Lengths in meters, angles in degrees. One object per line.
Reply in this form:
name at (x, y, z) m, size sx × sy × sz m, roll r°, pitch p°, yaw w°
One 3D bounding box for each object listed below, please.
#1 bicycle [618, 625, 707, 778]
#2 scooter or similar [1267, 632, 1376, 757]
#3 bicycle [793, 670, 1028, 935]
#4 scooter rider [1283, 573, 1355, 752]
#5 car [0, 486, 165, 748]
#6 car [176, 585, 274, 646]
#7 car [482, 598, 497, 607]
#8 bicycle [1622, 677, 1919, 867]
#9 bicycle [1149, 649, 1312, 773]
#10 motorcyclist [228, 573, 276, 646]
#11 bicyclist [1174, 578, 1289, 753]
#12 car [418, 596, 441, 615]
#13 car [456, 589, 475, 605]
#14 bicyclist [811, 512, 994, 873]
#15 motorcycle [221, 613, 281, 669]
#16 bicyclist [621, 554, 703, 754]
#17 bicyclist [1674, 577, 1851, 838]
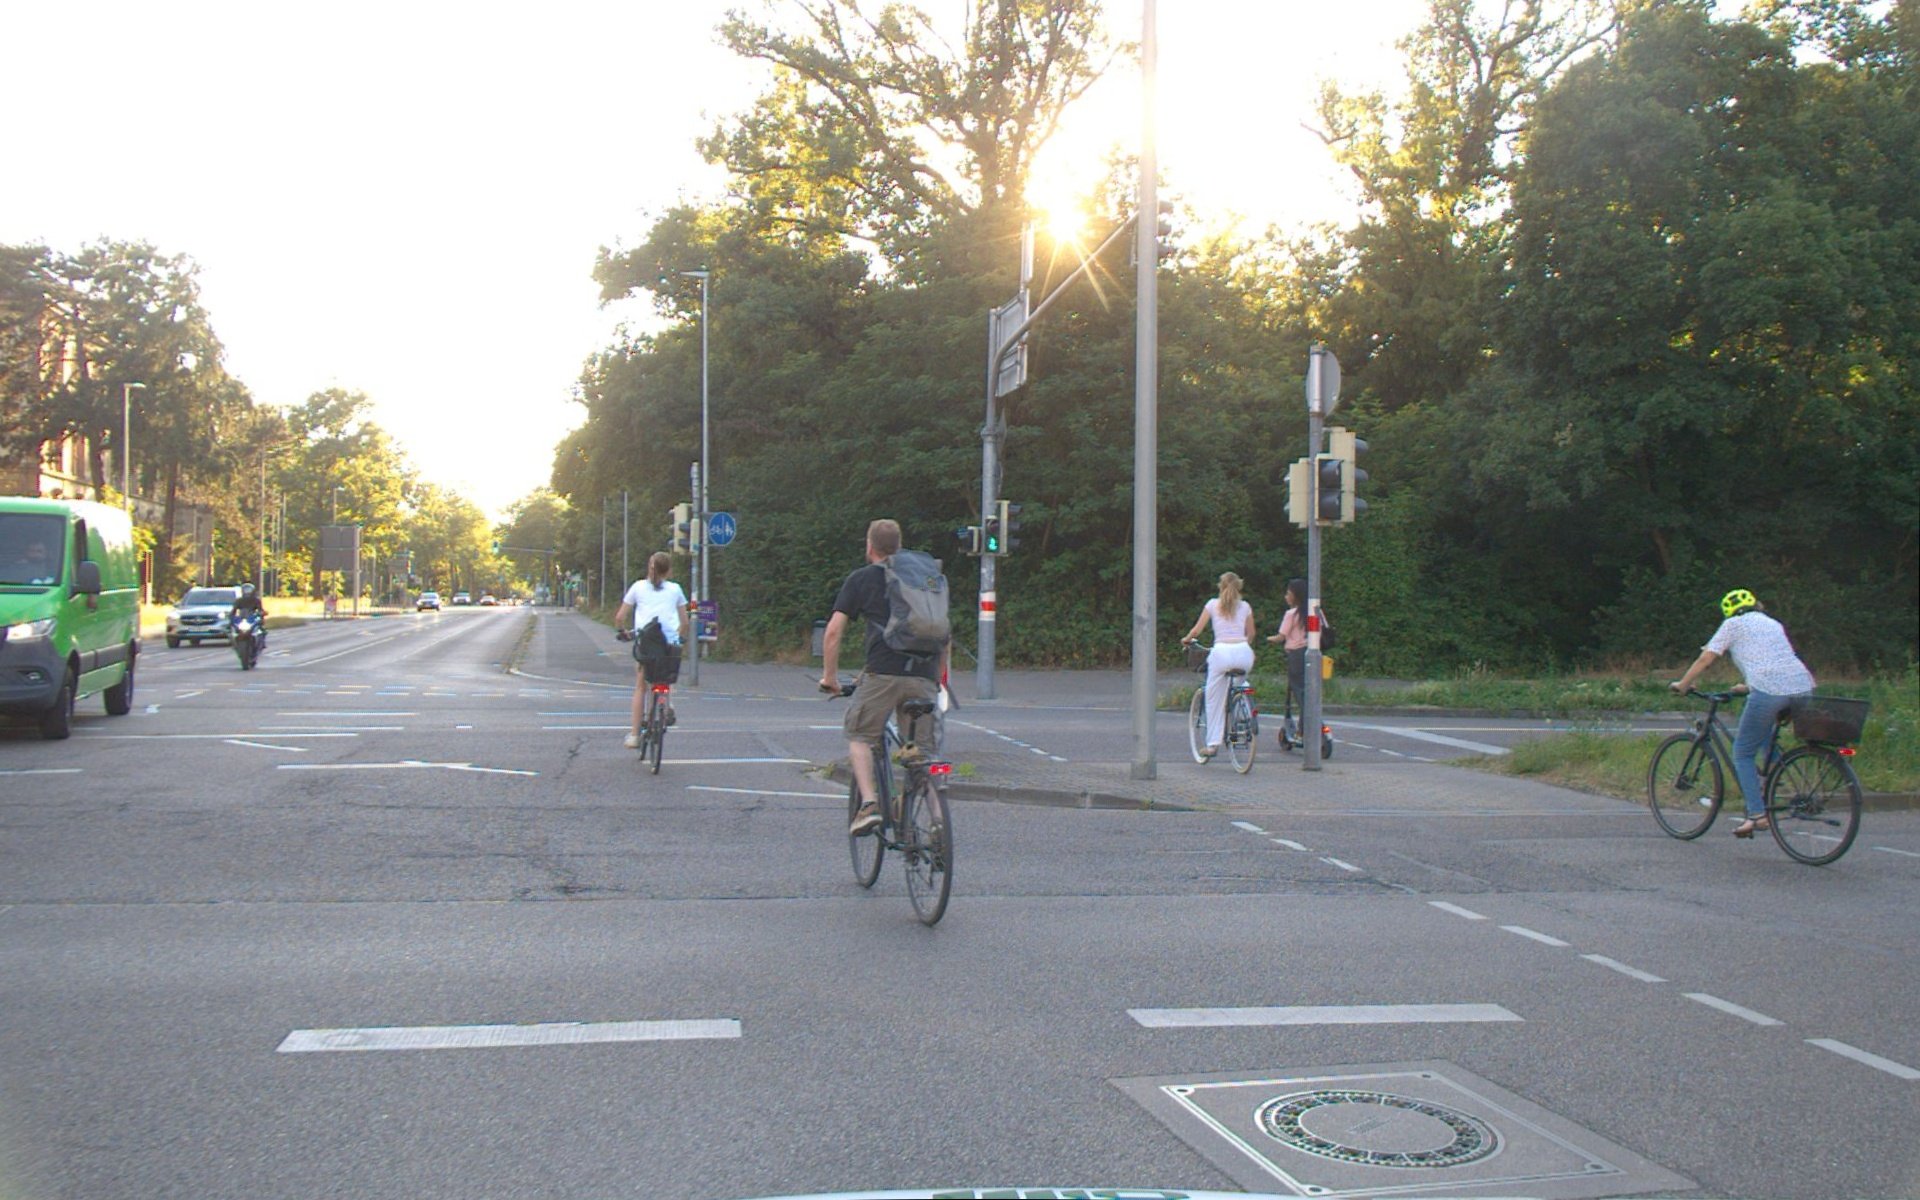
bicycle at (-2.517, 0.816, 13.875) m, size 0.603 × 1.158 × 1.877 m, roll 1°, pitch 0°, yaw -13°
scooter or similar at (3.688, 0.941, 16.958) m, size 0.552 × 1.210 × 1.417 m, roll 1°, pitch -1°, yaw -12°
bicycle at (-0.299, 0.932, 8.214) m, size 0.687 × 1.081 × 1.816 m, roll 2°, pitch -1°, yaw -17°
scooter rider at (3.684, 0.634, 16.986) m, size 0.555 × 1.797 × 0.503 m, roll 1°, pitch -1°, yaw -13°
car at (-9.806, 0.144, 17.246) m, size 2.008 × 2.318 × 5.909 m, roll 1°, pitch 0°, yaw -19°
car at (-21.154, 0.431, 47.779) m, size 1.734 × 1.664 × 4.497 m, roll 0°, pitch 0°, yaw -13°
car at (-66.725, 0.318, 234.696) m, size 1.961 × 1.288 × 3.983 m, roll 1°, pitch 0°, yaw -16°
bicycle at (5.162, 1.054, 10.656) m, size 0.556 × 1.032 × 1.788 m, roll 1°, pitch 0°, yaw -24°
bicycle at (2.442, 0.983, 15.196) m, size 0.757 × 1.024 × 2.009 m, roll 1°, pitch -1°, yaw -13°
motorcyclist at (-13.669, 0.189, 31.932) m, size 0.737 × 1.382 × 0.701 m, roll 0°, pitch -1°, yaw -14°
bicyclist at (2.470, 0.581, 15.106) m, size 0.746 × 1.544 × 0.854 m, roll 1°, pitch 0°, yaw -14°
car at (-43.499, 0.452, 135.682) m, size 1.742 × 1.500 × 3.757 m, roll 1°, pitch 0°, yaw -17°
car at (-54.377, -0.317, 181.814) m, size 1.962 × 1.668 × 3.981 m, roll 1°, pitch 0°, yaw -17°
bicyclist at (-0.304, 0.444, 8.271) m, size 0.687 × 1.696 × 0.794 m, roll 2°, pitch -1°, yaw -18°
motorcycle at (-13.671, 0.775, 31.922) m, size 0.741 × 1.019 × 1.872 m, roll 0°, pitch 0°, yaw -14°
bicyclist at (-2.515, 0.442, 13.907) m, size 0.593 × 1.613 × 0.906 m, roll 2°, pitch -1°, yaw -14°
bicyclist at (5.163, 0.660, 10.672) m, size 0.547 × 1.597 × 0.892 m, roll 1°, pitch 0°, yaw -24°
